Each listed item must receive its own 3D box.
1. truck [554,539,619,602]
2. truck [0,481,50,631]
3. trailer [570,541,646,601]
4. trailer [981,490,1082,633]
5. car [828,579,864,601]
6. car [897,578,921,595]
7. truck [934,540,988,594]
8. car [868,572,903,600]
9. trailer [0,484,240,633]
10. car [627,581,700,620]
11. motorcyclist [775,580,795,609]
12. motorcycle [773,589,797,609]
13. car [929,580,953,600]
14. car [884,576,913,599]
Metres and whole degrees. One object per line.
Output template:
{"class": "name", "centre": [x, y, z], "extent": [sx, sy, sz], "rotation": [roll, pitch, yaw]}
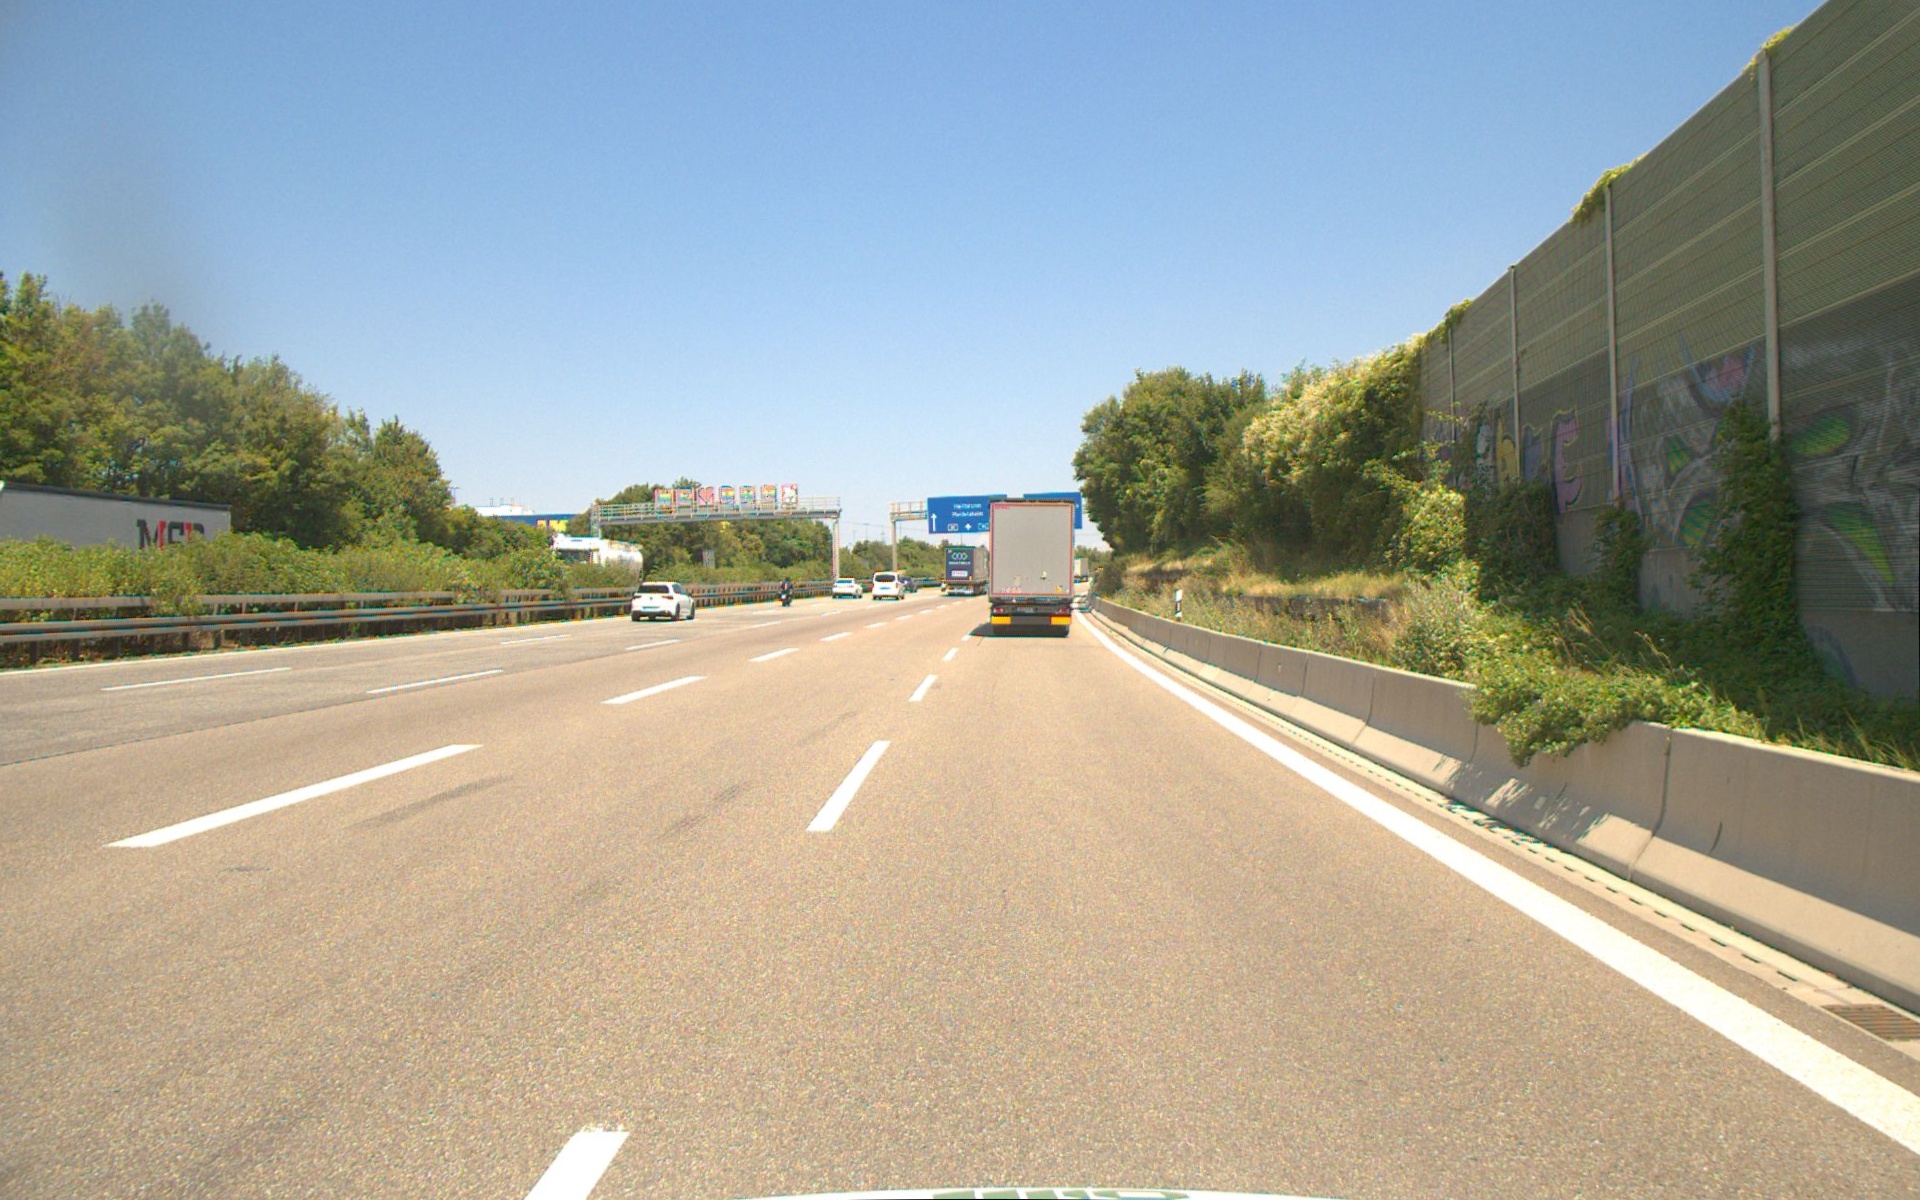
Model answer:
{"class": "truck", "centre": [-24.418, -1.920, 108.442], "extent": [2.639, 3.956, 5.748], "rotation": [0, 1, 3]}
{"class": "truck", "centre": [-28.226, -1.228, 45.797], "extent": [3.263, 4.161, 4.829], "rotation": [0, 0, 2]}
{"class": "trailer", "centre": [-24.107, -1.986, 113.855], "extent": [2.633, 3.956, 9.738], "rotation": [0, 1, 3]}
{"class": "trailer", "centre": [2.290, -1.170, 53.829], "extent": [2.867, 4.085, 12.042], "rotation": [-1, 0, 2]}
{"class": "car", "centre": [-8.290, -0.714, 120.460], "extent": [1.837, 1.466, 5.128], "rotation": [0, -1, 4]}
{"class": "car", "centre": [-4.743, -1.241, 154.355], "extent": [1.720, 1.433, 5.041], "rotation": [-1, -1, 4]}
{"class": "truck", "centre": [0.196, -2.818, 141.991], "extent": [3.668, 4.344, 14.504], "rotation": [0, 1, 4]}
{"class": "car", "centre": [-5.238, -0.983, 116.211], "extent": [1.890, 1.884, 4.695], "rotation": [-1, 0, 4]}
{"class": "trailer", "centre": [-28.024, -1.221, 53.145], "extent": [3.321, 4.161, 13.930], "rotation": [0, 0, 2]}
{"class": "car", "centre": [-11.271, 0.006, 63.138], "extent": [1.744, 1.466, 4.670], "rotation": [0, 0, 3]}
{"class": "motorcyclist", "centre": [-9.686, -0.303, 91.606], "extent": [0.874, 1.625, 1.299], "rotation": [0, -1, 2]}
{"class": "motorcycle", "centre": [-9.693, -0.047, 91.638], "extent": [0.894, 1.108, 2.850], "rotation": [0, 0, 2]}
{"class": "car", "centre": [-1.889, -0.998, 165.896], "extent": [1.864, 1.884, 4.634], "rotation": [-1, 1, 5]}
{"class": "car", "centre": [-5.078, -1.046, 137.623], "extent": [1.837, 1.838, 5.128], "rotation": [0, -1, 4]}
